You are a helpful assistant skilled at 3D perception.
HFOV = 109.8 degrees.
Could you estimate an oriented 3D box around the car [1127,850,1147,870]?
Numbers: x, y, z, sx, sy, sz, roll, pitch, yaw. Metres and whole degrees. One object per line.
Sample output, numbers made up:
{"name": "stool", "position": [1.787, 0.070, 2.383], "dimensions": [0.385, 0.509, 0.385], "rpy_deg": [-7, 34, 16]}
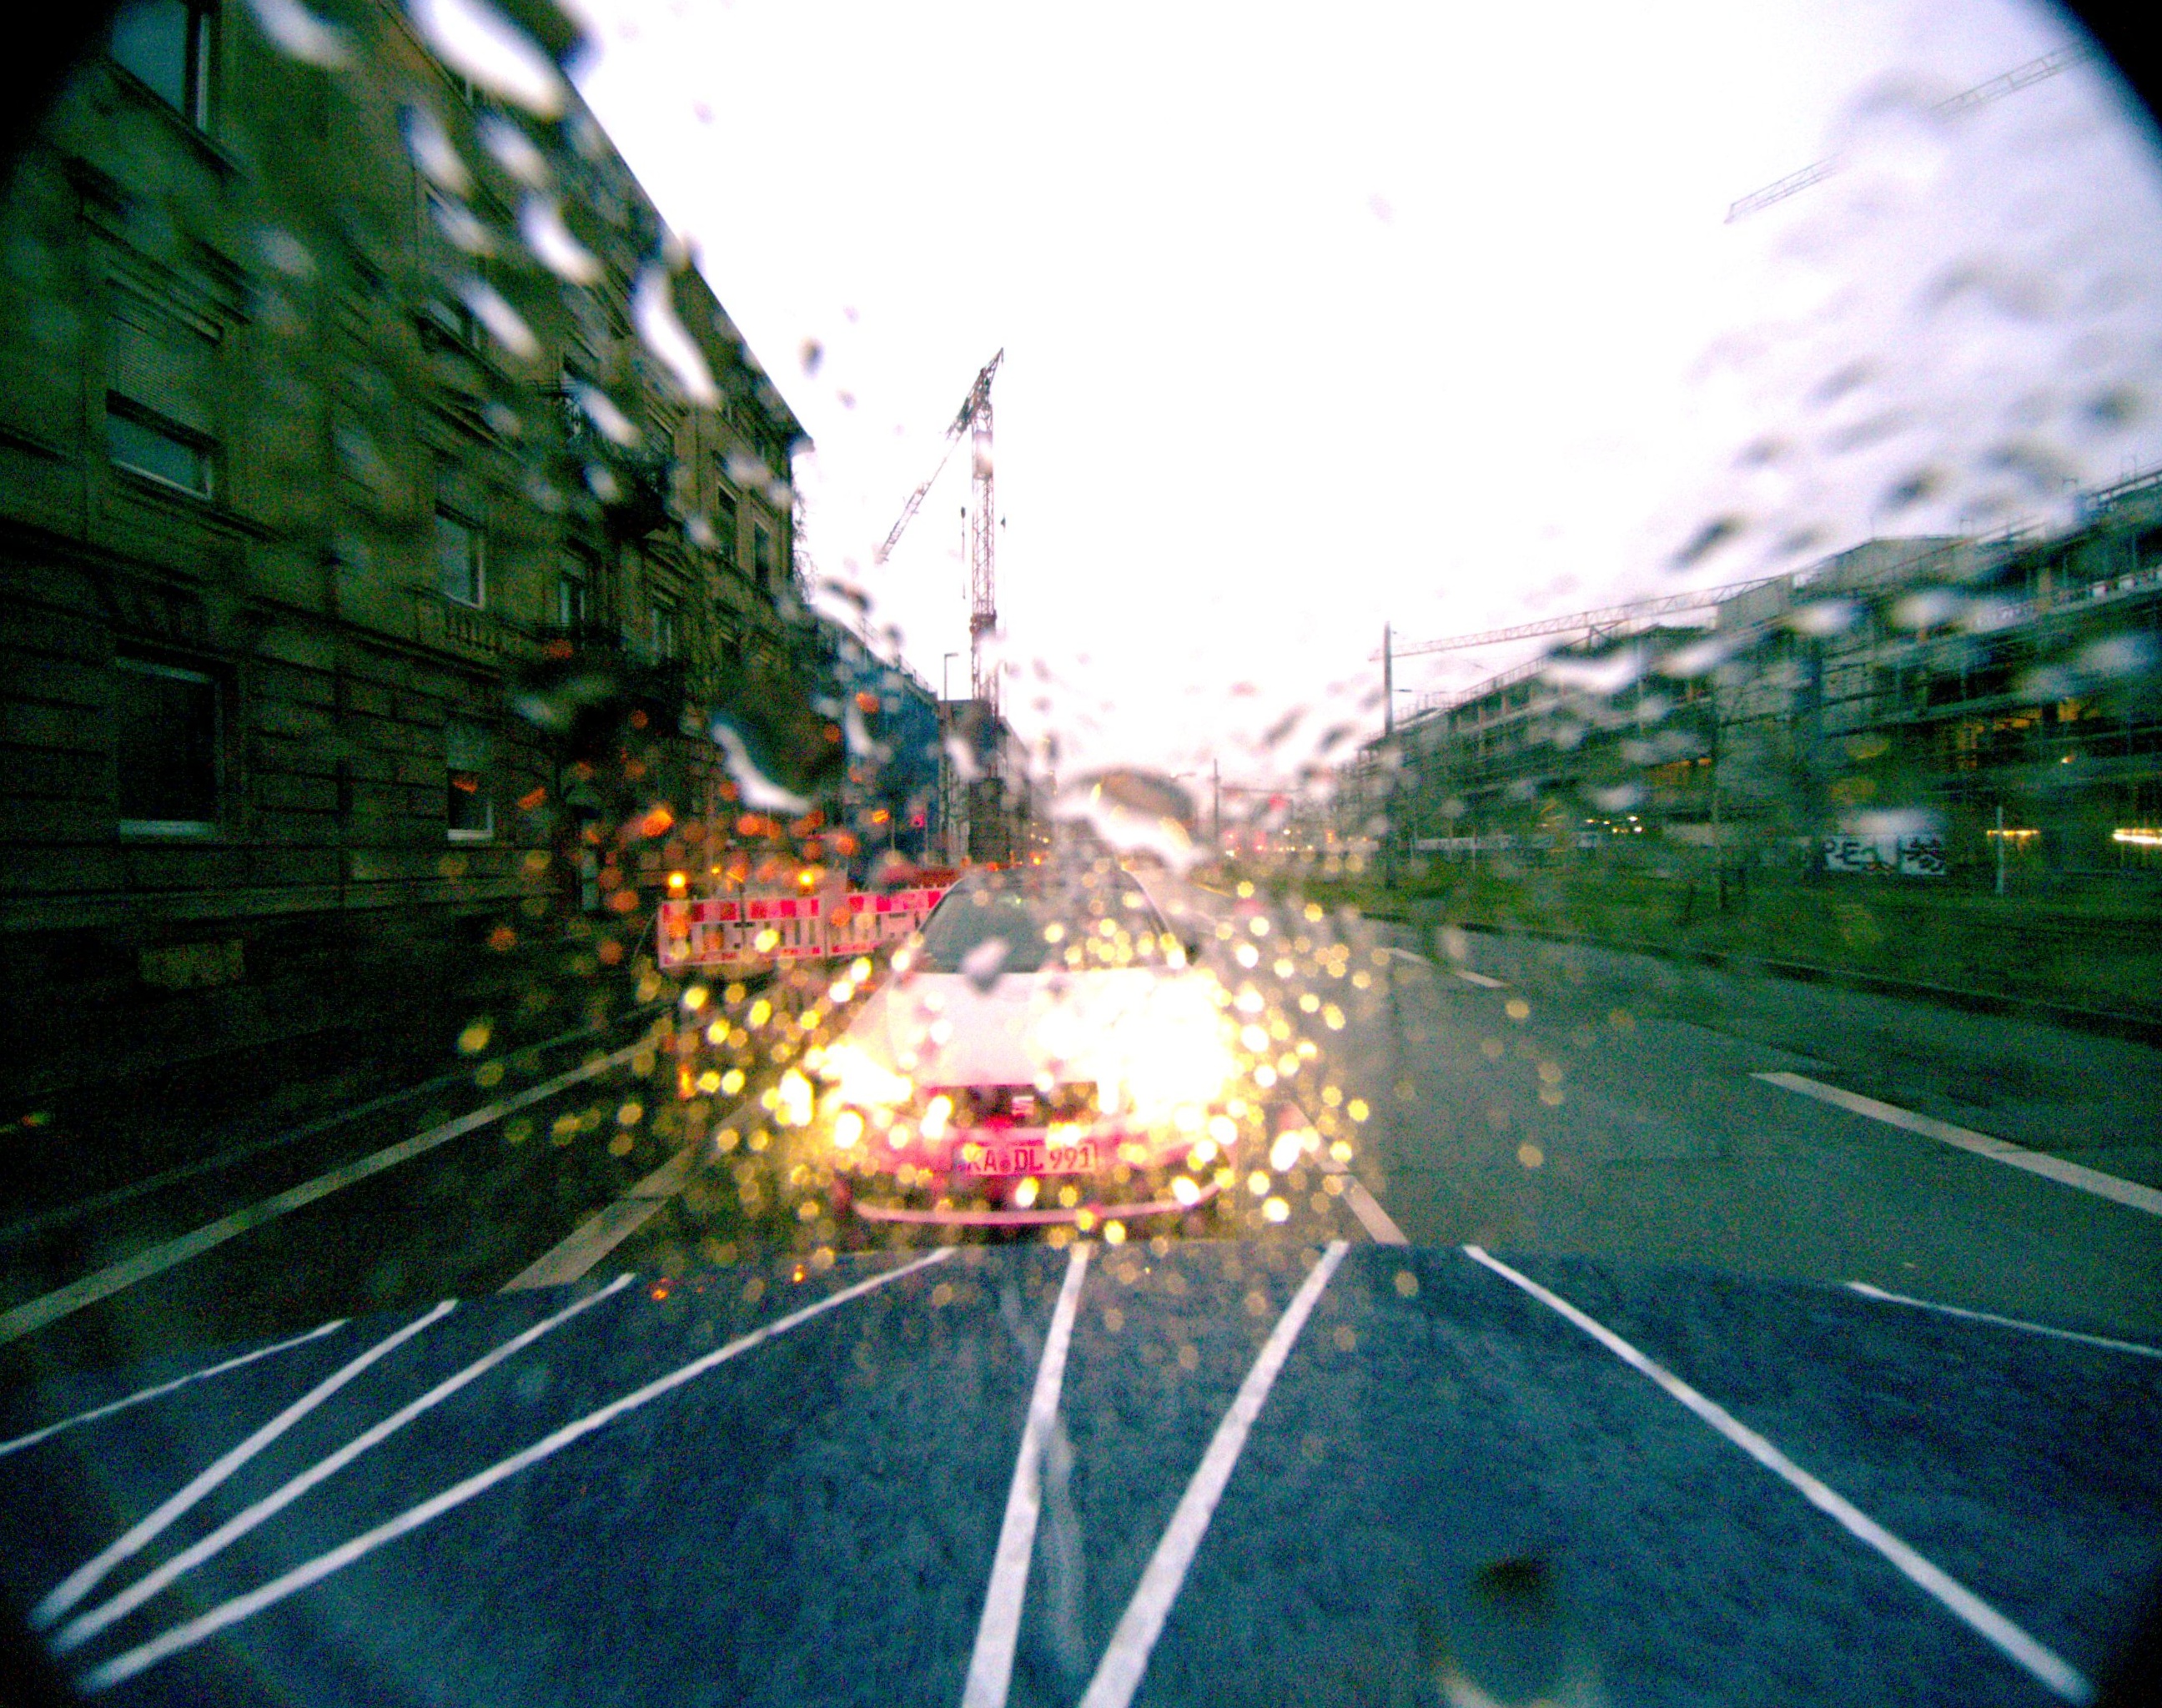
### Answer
{"name": "car", "position": [5.124, 0.513, 69.737], "dimensions": [1.768, 1.614, 3.900], "rpy_deg": [-3, 1, 4]}

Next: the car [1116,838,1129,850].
{"name": "car", "position": [5.907, -1.401, 107.033], "dimensions": [1.768, 1.614, 3.900], "rpy_deg": [-3, 1, 4]}

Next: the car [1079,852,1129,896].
{"name": "car", "position": [0.856, 0.728, 30.060], "dimensions": [1.769, 1.504, 3.899], "rpy_deg": [-3, 1, 0]}

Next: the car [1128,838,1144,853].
{"name": "car", "position": [6.304, -1.009, 87.340], "dimensions": [1.768, 1.614, 3.900], "rpy_deg": [-3, 1, 4]}

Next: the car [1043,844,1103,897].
{"name": "car", "position": [-0.252, 0.473, 25.150], "dimensions": [1.769, 1.504, 3.899], "rpy_deg": [-3, 1, 0]}

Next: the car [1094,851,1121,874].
{"name": "car", "position": [1.935, 0.580, 56.535], "dimensions": [1.769, 1.504, 3.899], "rpy_deg": [-3, 1, 0]}

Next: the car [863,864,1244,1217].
{"name": "car", "position": [-0.133, 0.927, 5.618], "dimensions": [1.769, 1.504, 3.899], "rpy_deg": [-3, 1, 0]}

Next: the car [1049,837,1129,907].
{"name": "car", "position": [0.170, 0.369, 19.309], "dimensions": [1.769, 1.504, 3.899], "rpy_deg": [-3, 1, 0]}

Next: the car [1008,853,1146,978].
{"name": "car", "position": [-0.058, 0.817, 12.010], "dimensions": [1.769, 1.504, 3.899], "rpy_deg": [-3, 1, 0]}
